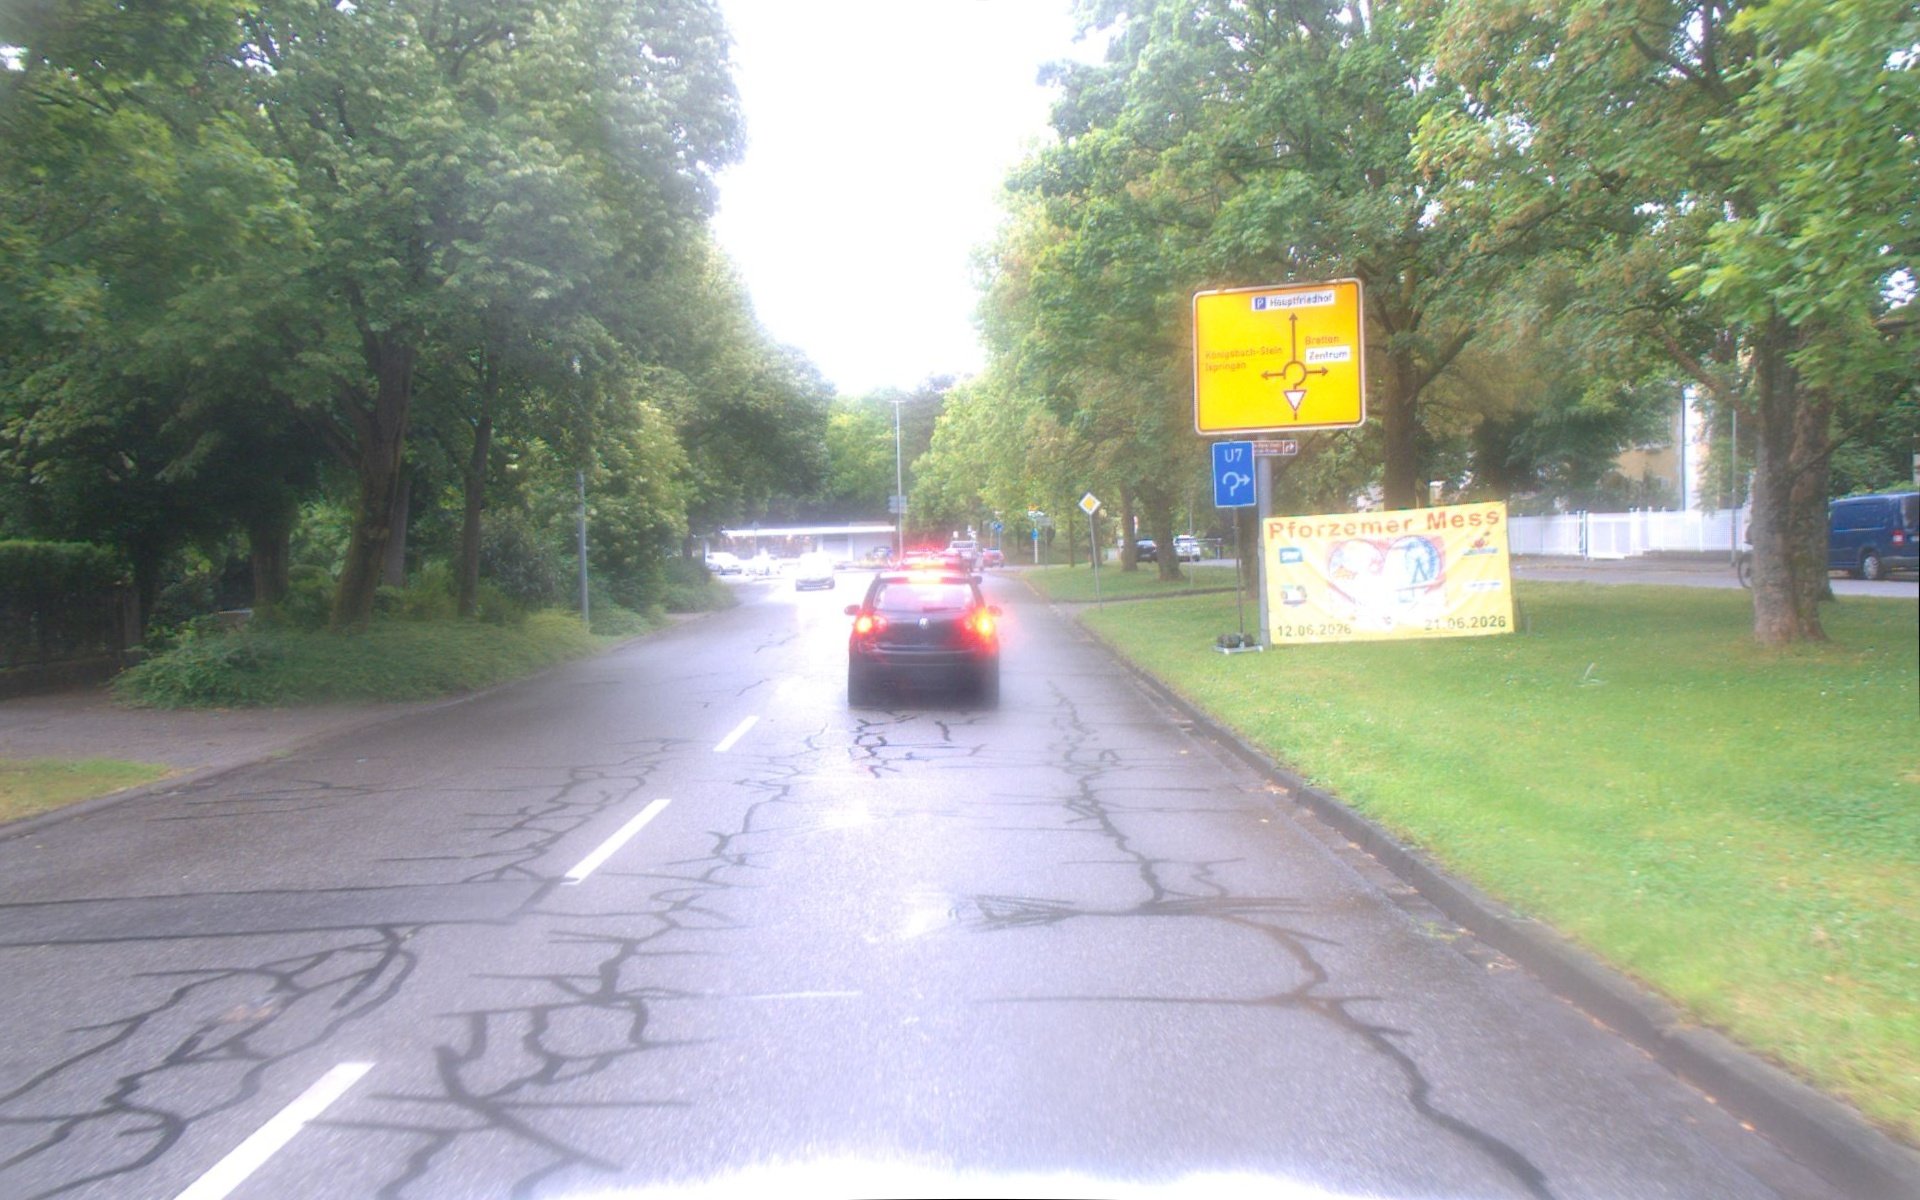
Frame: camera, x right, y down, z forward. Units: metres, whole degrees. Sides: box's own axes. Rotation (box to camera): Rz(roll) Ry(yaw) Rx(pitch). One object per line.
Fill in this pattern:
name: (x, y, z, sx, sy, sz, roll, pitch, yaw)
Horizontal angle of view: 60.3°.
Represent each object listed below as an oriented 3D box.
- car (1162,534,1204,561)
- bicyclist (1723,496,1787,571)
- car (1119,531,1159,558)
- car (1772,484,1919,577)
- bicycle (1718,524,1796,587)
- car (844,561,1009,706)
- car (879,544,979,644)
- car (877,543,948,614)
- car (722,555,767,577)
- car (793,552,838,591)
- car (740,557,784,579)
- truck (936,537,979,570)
car: (12.810, -3.032, 95.278, 1.767, 1.430, 4.000, -4, 2, -1)
bicyclist: (15.322, -1.267, 31.897, 0.729, 1.415, 1.000, -1, 1, -1)
car: (10.274, -3.210, 95.209, 1.767, 1.409, 4.000, -4, 2, -1)
car: (20.177, -1.575, 36.579, 1.903, 1.840, 4.647, -3, 3, -3)
bicycle: (15.326, -0.853, 31.846, 0.583, 1.158, 1.863, -1, 1, -1)
car: (-0.369, 0.320, 19.620, 1.762, 1.541, 3.754, 1, 1, 0)
car: (-0.585, -0.170, 32.825, 1.817, 1.815, 4.000, -2, 2, 0)
car: (-1.286, -0.618, 46.089, 1.817, 1.815, 4.000, -2, 1, 0)
car: (-16.919, -2.684, 129.863, 1.736, 1.646, 3.803, 0, 2, 24)
car: (-6.595, -1.335, 75.827, 1.728, 1.642, 4.140, -3, 2, -2)
car: (-14.400, -2.340, 120.572, 1.574, 1.452, 4.011, -2, 3, 18)
truck: (-0.122, -2.981, 106.080, 2.366, 2.039, 5.154, -2, 1, 4)
